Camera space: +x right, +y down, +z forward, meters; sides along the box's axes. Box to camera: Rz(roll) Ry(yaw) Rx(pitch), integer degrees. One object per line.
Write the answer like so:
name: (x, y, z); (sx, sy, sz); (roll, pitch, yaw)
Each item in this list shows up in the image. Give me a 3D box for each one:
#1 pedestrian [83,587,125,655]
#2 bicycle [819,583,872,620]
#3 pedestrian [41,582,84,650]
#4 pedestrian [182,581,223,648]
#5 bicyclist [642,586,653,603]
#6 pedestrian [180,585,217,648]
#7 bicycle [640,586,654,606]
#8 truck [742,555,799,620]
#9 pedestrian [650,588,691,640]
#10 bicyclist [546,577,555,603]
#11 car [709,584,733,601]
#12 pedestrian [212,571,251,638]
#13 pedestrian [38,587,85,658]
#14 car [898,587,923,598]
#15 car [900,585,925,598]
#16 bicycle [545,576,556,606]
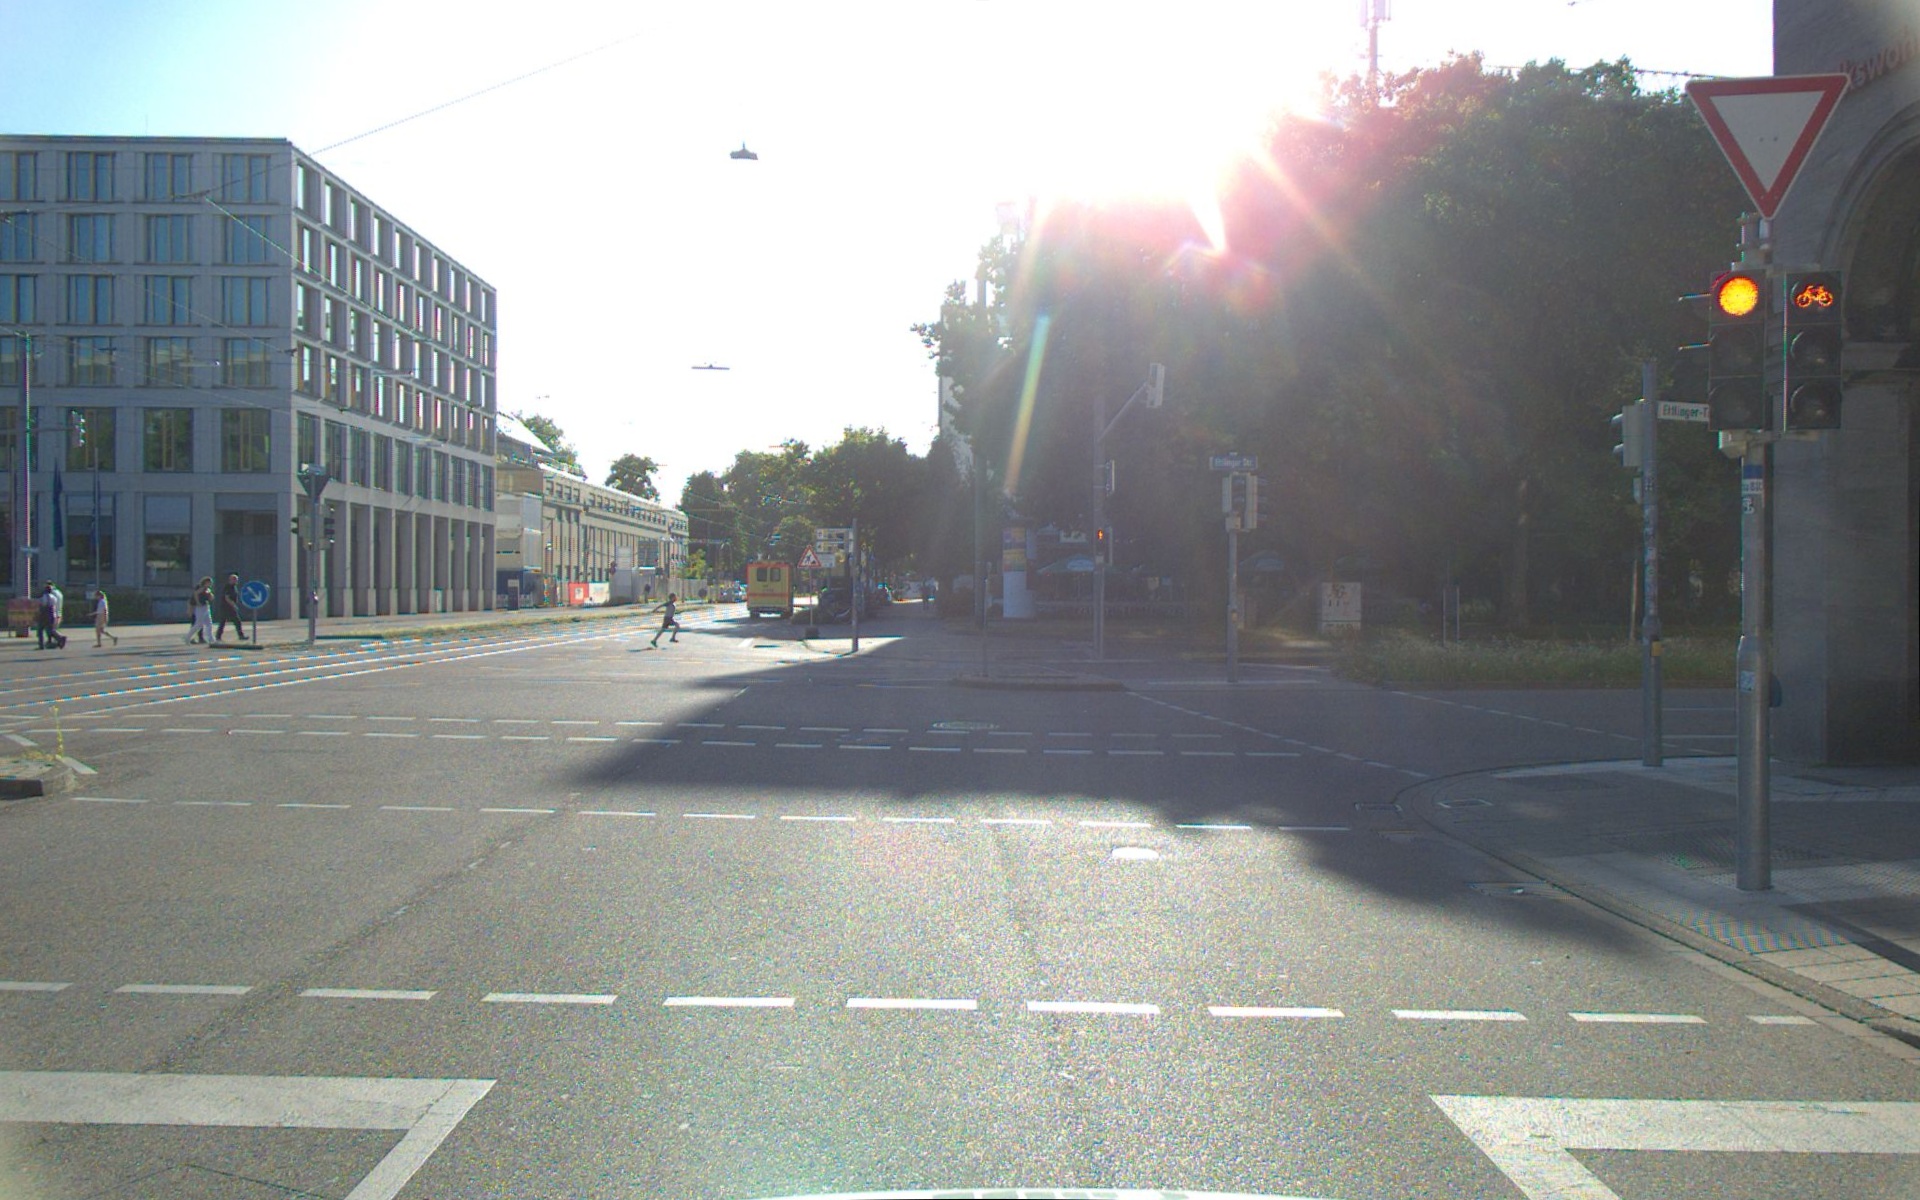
pedestrian: (-23.076, 0.561, 44.580); (0.851, 1.835, 0.532); (0, 0, 4)
bicycle: (-5.635, 0.081, 81.292); (2.495, 1.774, 1.037); (1, 0, -1)
pedestrian: (-24.203, 0.429, 44.617); (0.723, 1.835, 0.716); (0, 0, 4)
pedestrian: (-19.076, 0.365, 41.672); (0.777, 1.673, 0.620); (0, 0, -5)
bicyclist: (-24.959, -0.423, 132.178); (0.676, 1.351, 0.999); (1, 0, -2)
pedestrian: (-20.162, 0.435, 43.813); (0.680, 1.673, 0.621); (0, 0, 0)
bicycle: (-25.007, -0.307, 132.106); (0.676, 1.538, 2.943); (1, 0, -2)
truck: (-9.439, -0.612, 82.034); (2.665, 3.068, 6.477); (0, 0, -8)
pedestrian: (-7.580, 0.362, 43.336); (0.974, 1.340, 0.766); (0, 0, -6)
bicyclist: (-32.119, -0.786, 129.777); (0.559, 2.059, 0.761); (0, 0, -2)
car: (-22.526, -0.709, 156.044); (1.856, 1.635, 4.498); (0, 0, -3)
pedestrian: (-19.808, 0.131, 44.973); (0.732, 1.792, 0.678); (-1, -1, 4)
pedestrian: (-23.318, 0.583, 42.935); (0.852, 1.835, 0.664); (0, 0, 4)
car: (-6.330, -0.928, 211.086); (3.153, 1.285, 1.372); (1, 0, -2)
car: (-6.104, -1.100, 213.336); (3.152, 1.616, 1.445); (1, 0, -5)
bicycle: (-32.121, -0.676, 129.770); (0.559, 2.336, 1.422); (0, 0, -2)
